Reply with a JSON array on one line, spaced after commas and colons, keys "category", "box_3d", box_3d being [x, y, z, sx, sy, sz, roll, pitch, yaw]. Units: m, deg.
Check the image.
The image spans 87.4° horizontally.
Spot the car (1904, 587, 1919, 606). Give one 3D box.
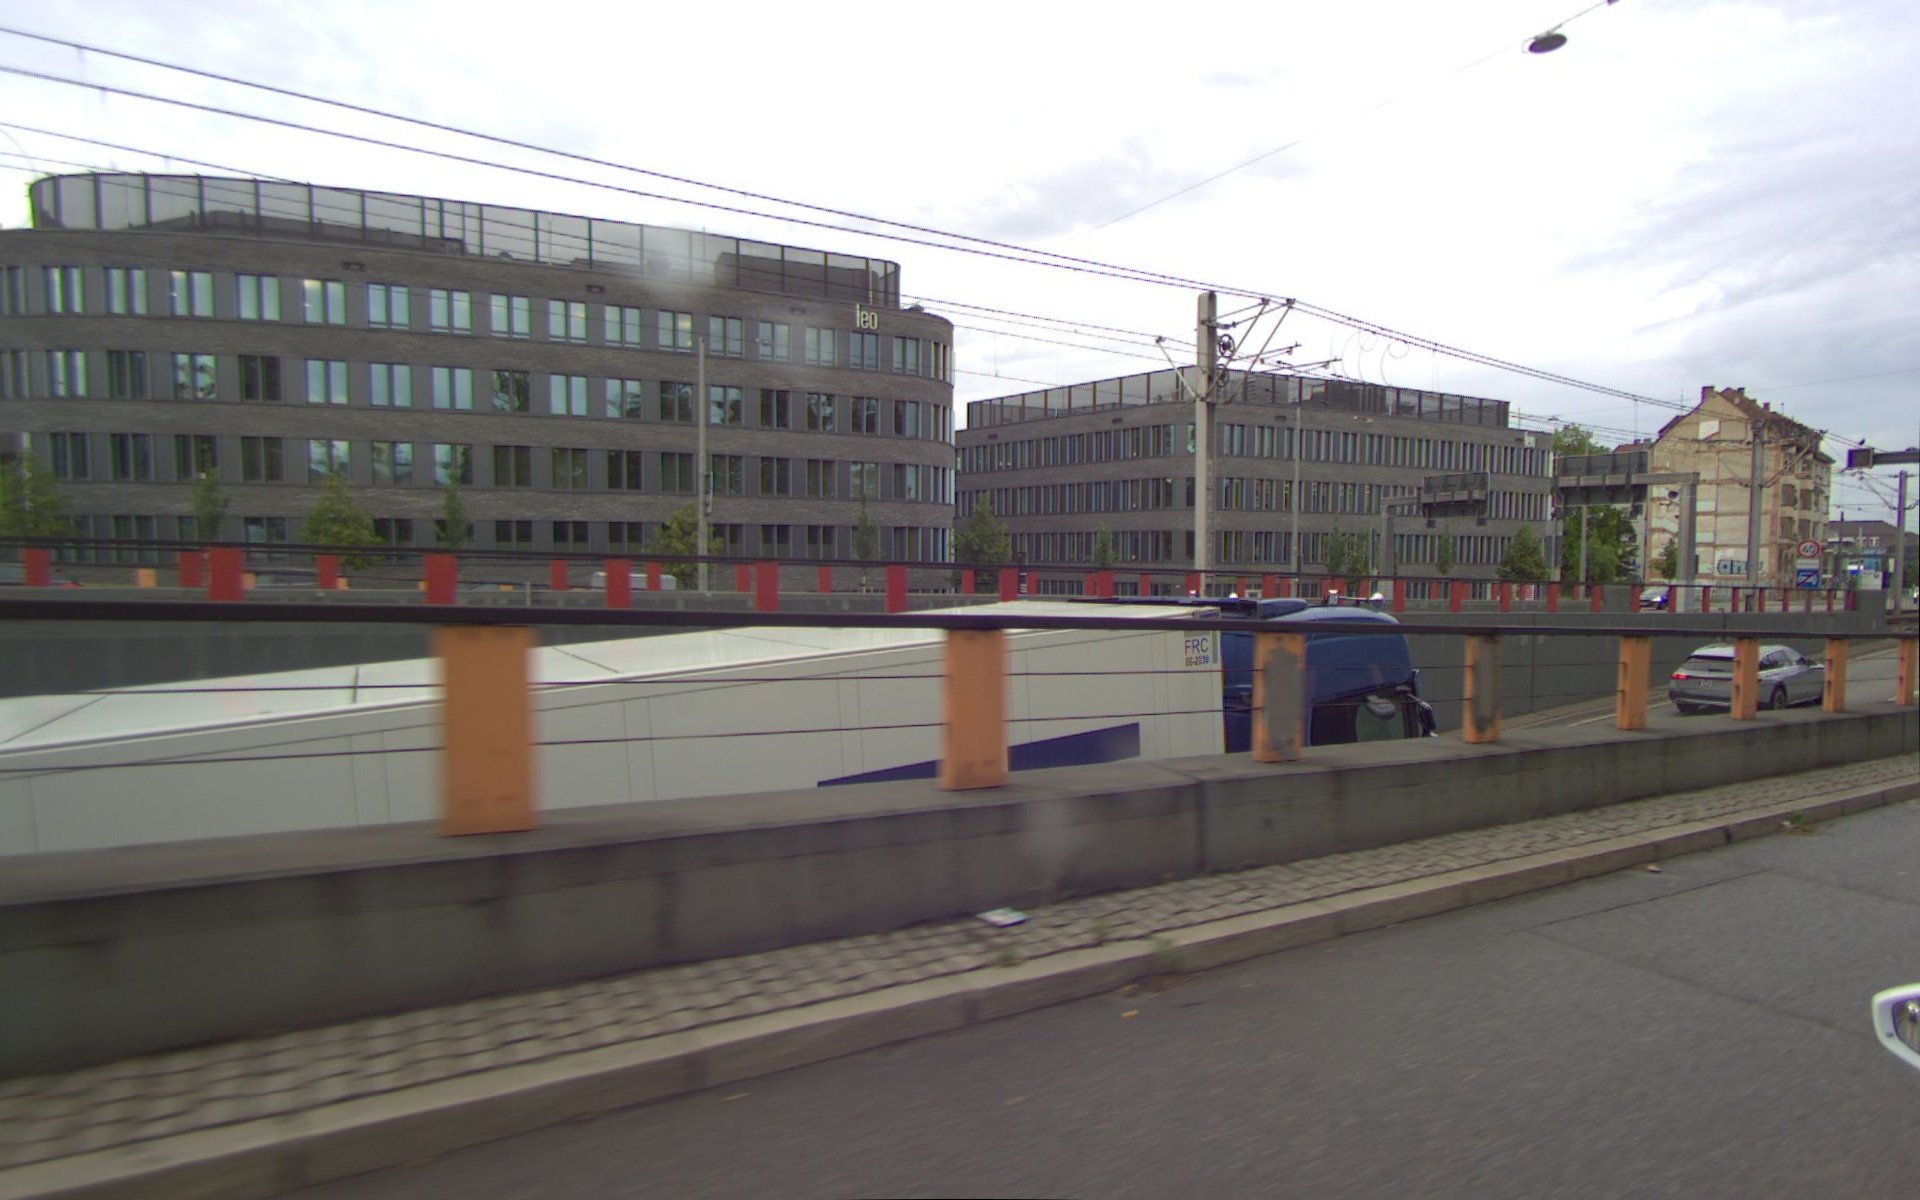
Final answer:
[{"category": "car", "box_3d": [114.129, -0.422, 119.513, 5.068, 2.146, 1.976, 0, 3, -40]}]

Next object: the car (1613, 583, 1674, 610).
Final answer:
[{"category": "car", "box_3d": [44.894, -0.278, 65.936, 3.785, 1.606, 1.816, -2, 3, -30]}]

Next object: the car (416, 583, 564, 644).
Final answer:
[{"category": "car", "box_3d": [-15.703, 0.467, 33.604, 4.229, 1.772, 1.814, 3, 1, -33]}]

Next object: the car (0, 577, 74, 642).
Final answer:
[{"category": "car", "box_3d": [-26.402, 0.183, 26.800, 3.786, 1.606, 1.816, 3, 1, -30]}]

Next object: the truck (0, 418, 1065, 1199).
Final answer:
[{"category": "truck", "box_3d": [-5.518, 1.463, 4.061, 12.882, 4.254, 2.747, -1, 2, -32]}]

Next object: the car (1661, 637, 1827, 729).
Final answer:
[{"category": "car", "box_3d": [17.946, 1.807, 22.953, 4.047, 1.587, 1.810, -4, 2, -33]}]

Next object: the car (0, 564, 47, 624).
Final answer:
[{"category": "car", "box_3d": [-29.131, -0.221, 28.971, 3.786, 1.606, 1.816, 2, 4, -30]}]

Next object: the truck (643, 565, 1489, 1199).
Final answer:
[{"category": "truck", "box_3d": [1.153, 1.867, 8.303, 6.710, 4.254, 2.746, -1, 2, -33]}]

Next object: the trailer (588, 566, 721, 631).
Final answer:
[{"category": "trailer", "box_3d": [-11.097, -0.042, 36.549, 4.229, 2.102, 1.814, 2, 2, -33]}]

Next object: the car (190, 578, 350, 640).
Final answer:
[{"category": "car", "box_3d": [-20.808, 0.269, 30.503, 3.786, 1.606, 1.816, 3, 1, -30]}]
